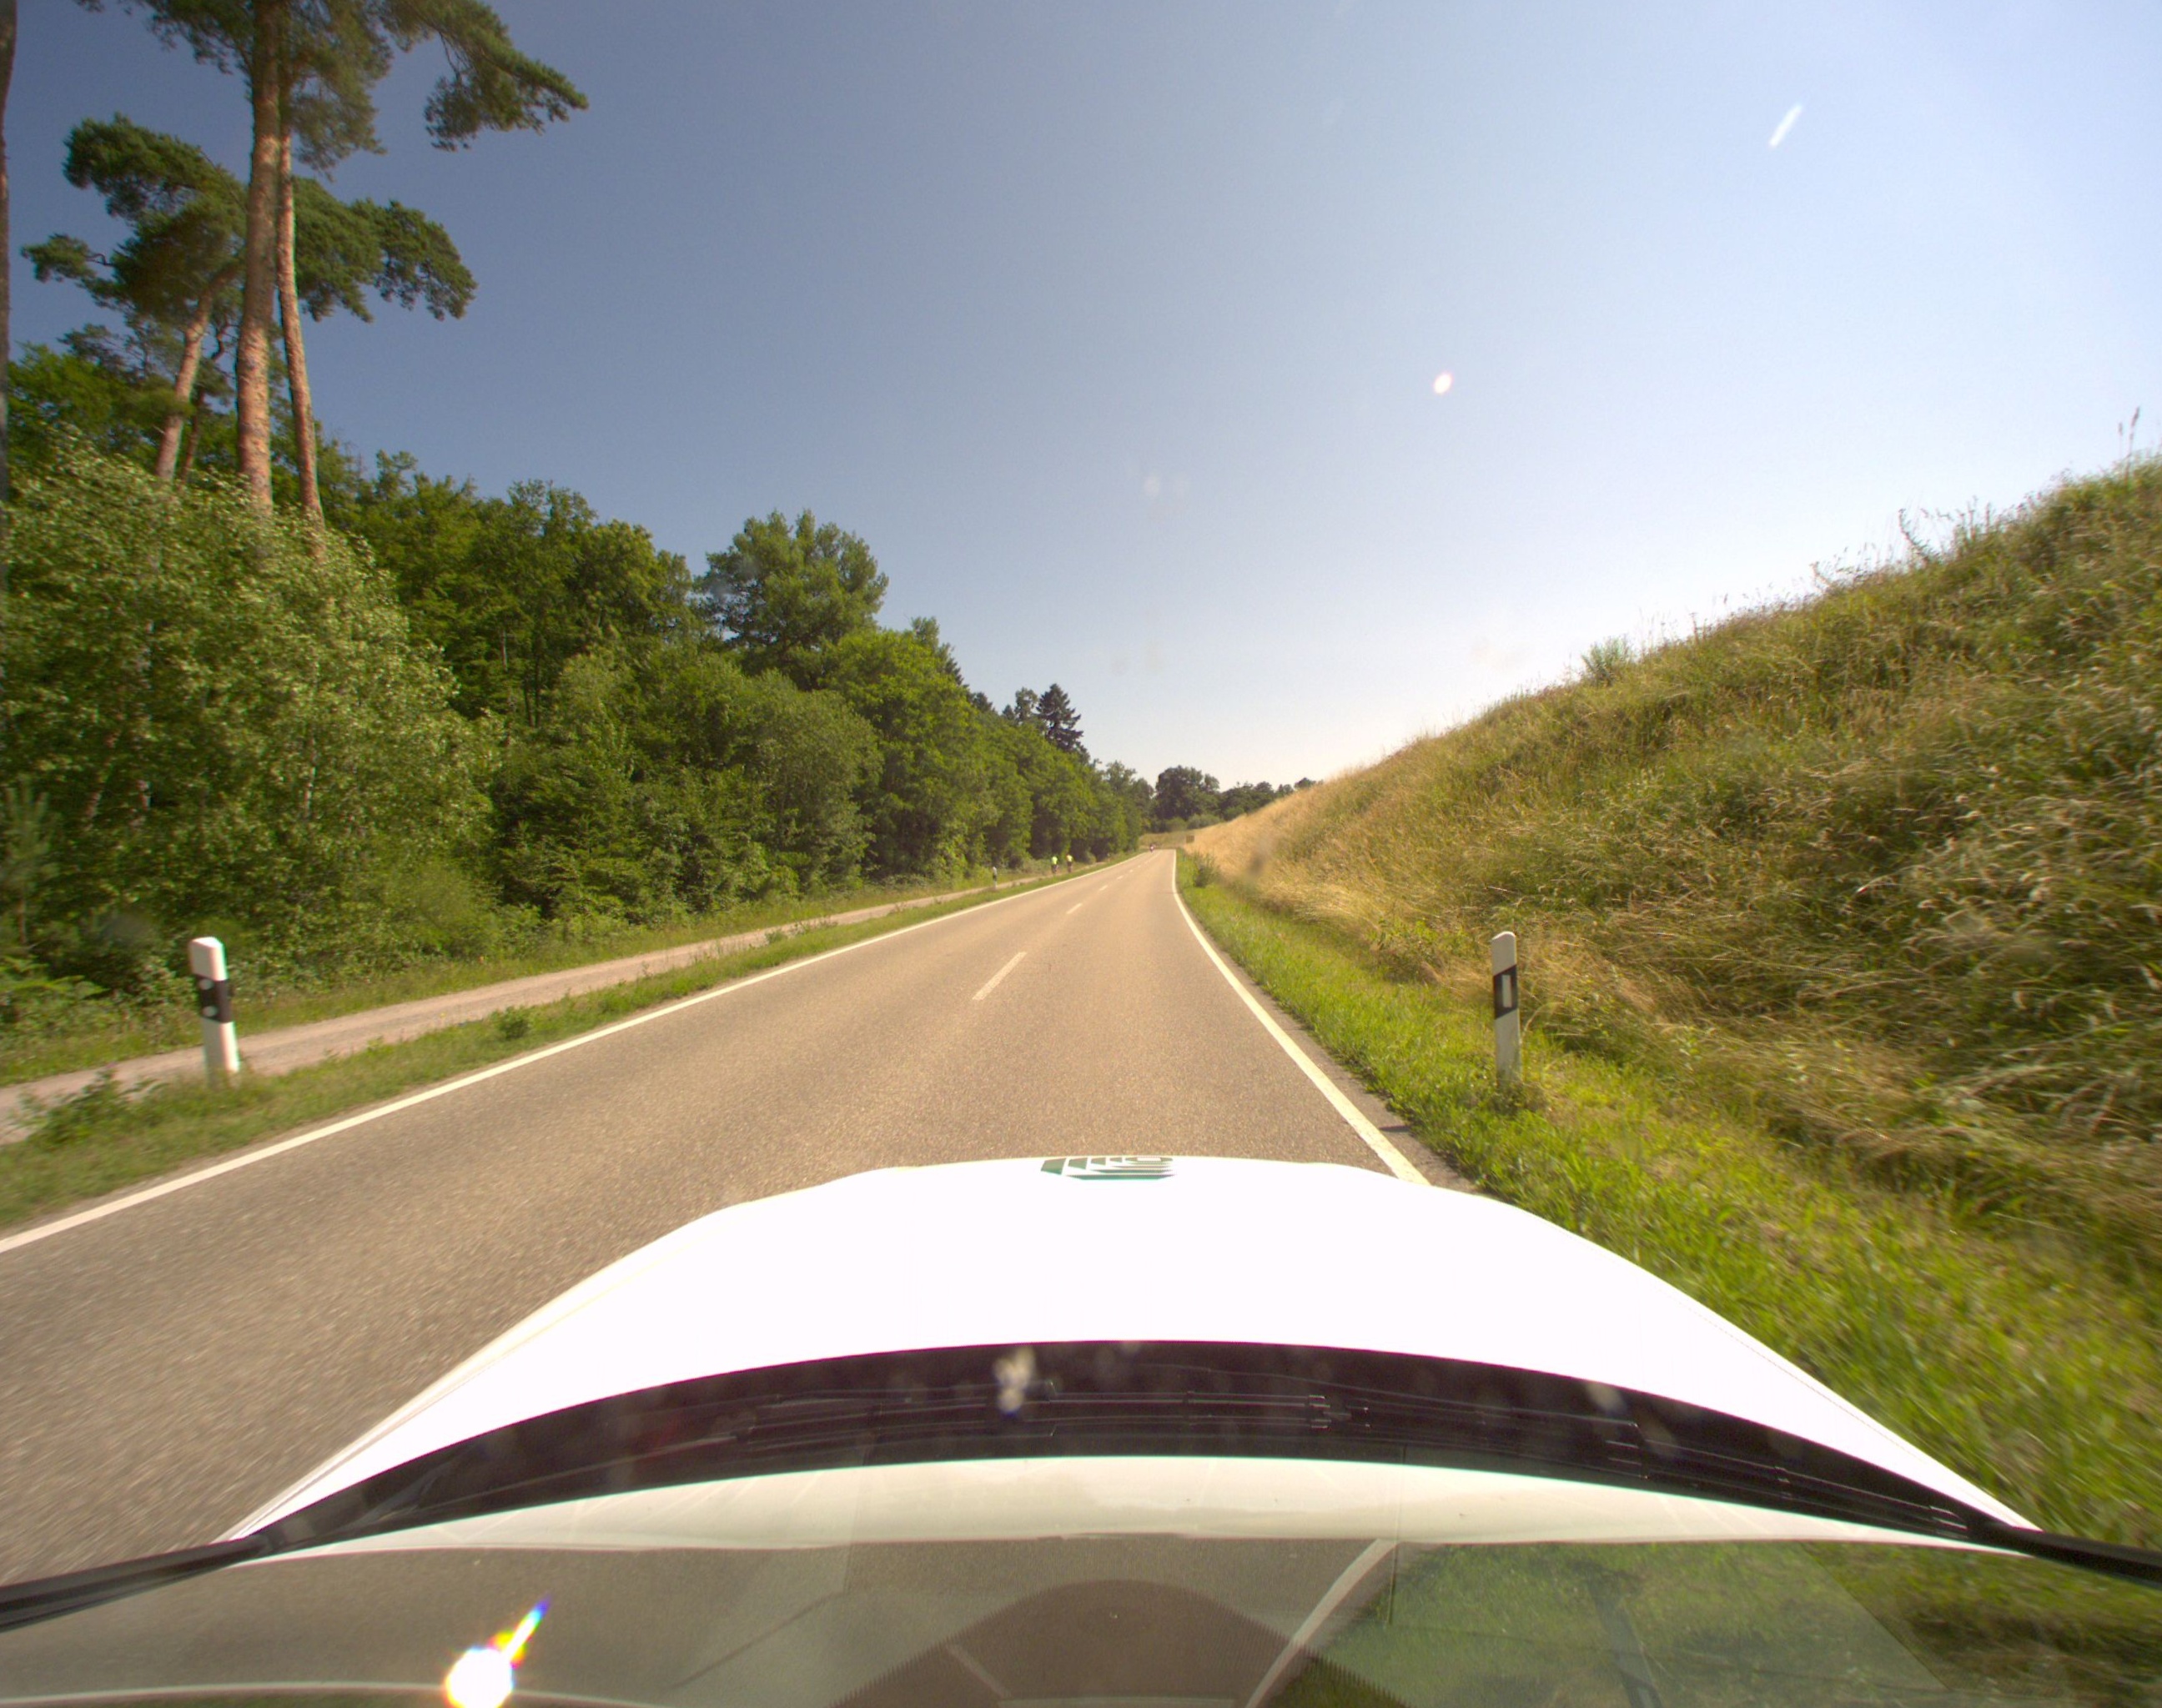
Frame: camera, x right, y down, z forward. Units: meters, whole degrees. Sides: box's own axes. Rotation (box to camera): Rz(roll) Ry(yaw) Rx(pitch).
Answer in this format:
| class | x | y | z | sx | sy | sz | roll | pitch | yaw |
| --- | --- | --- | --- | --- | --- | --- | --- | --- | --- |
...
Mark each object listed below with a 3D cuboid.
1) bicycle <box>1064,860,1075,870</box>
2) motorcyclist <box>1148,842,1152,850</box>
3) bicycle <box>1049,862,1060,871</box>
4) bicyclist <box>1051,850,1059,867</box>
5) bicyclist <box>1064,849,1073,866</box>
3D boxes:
| class | x | y | z | sx | sy | sz | roll | pitch | yaw |
| --- | --- | --- | --- | --- | --- | --- | --- | --- | --- |
| bicycle | -0.980 | 0.944 | 69.262 | 0.636 | 0.788 | 2.141 | -4 | 0 | 7 |
| motorcyclist | 13.658 | -1.628 | 160.267 | 0.656 | 1.528 | 0.815 | -4 | 0 | 5 |
| bicycle | -2.234 | 1.081 | 69.605 | 0.616 | 0.681 | 2.141 | -4 | 0 | 7 |
| bicyclist | -2.226 | 0.374 | 69.699 | 0.602 | 1.415 | 0.704 | -1 | -2 | 6 |
| bicyclist | -1.036 | 0.292 | 69.203 | 0.602 | 1.415 | 0.704 | -4 | 0 | 6 |
